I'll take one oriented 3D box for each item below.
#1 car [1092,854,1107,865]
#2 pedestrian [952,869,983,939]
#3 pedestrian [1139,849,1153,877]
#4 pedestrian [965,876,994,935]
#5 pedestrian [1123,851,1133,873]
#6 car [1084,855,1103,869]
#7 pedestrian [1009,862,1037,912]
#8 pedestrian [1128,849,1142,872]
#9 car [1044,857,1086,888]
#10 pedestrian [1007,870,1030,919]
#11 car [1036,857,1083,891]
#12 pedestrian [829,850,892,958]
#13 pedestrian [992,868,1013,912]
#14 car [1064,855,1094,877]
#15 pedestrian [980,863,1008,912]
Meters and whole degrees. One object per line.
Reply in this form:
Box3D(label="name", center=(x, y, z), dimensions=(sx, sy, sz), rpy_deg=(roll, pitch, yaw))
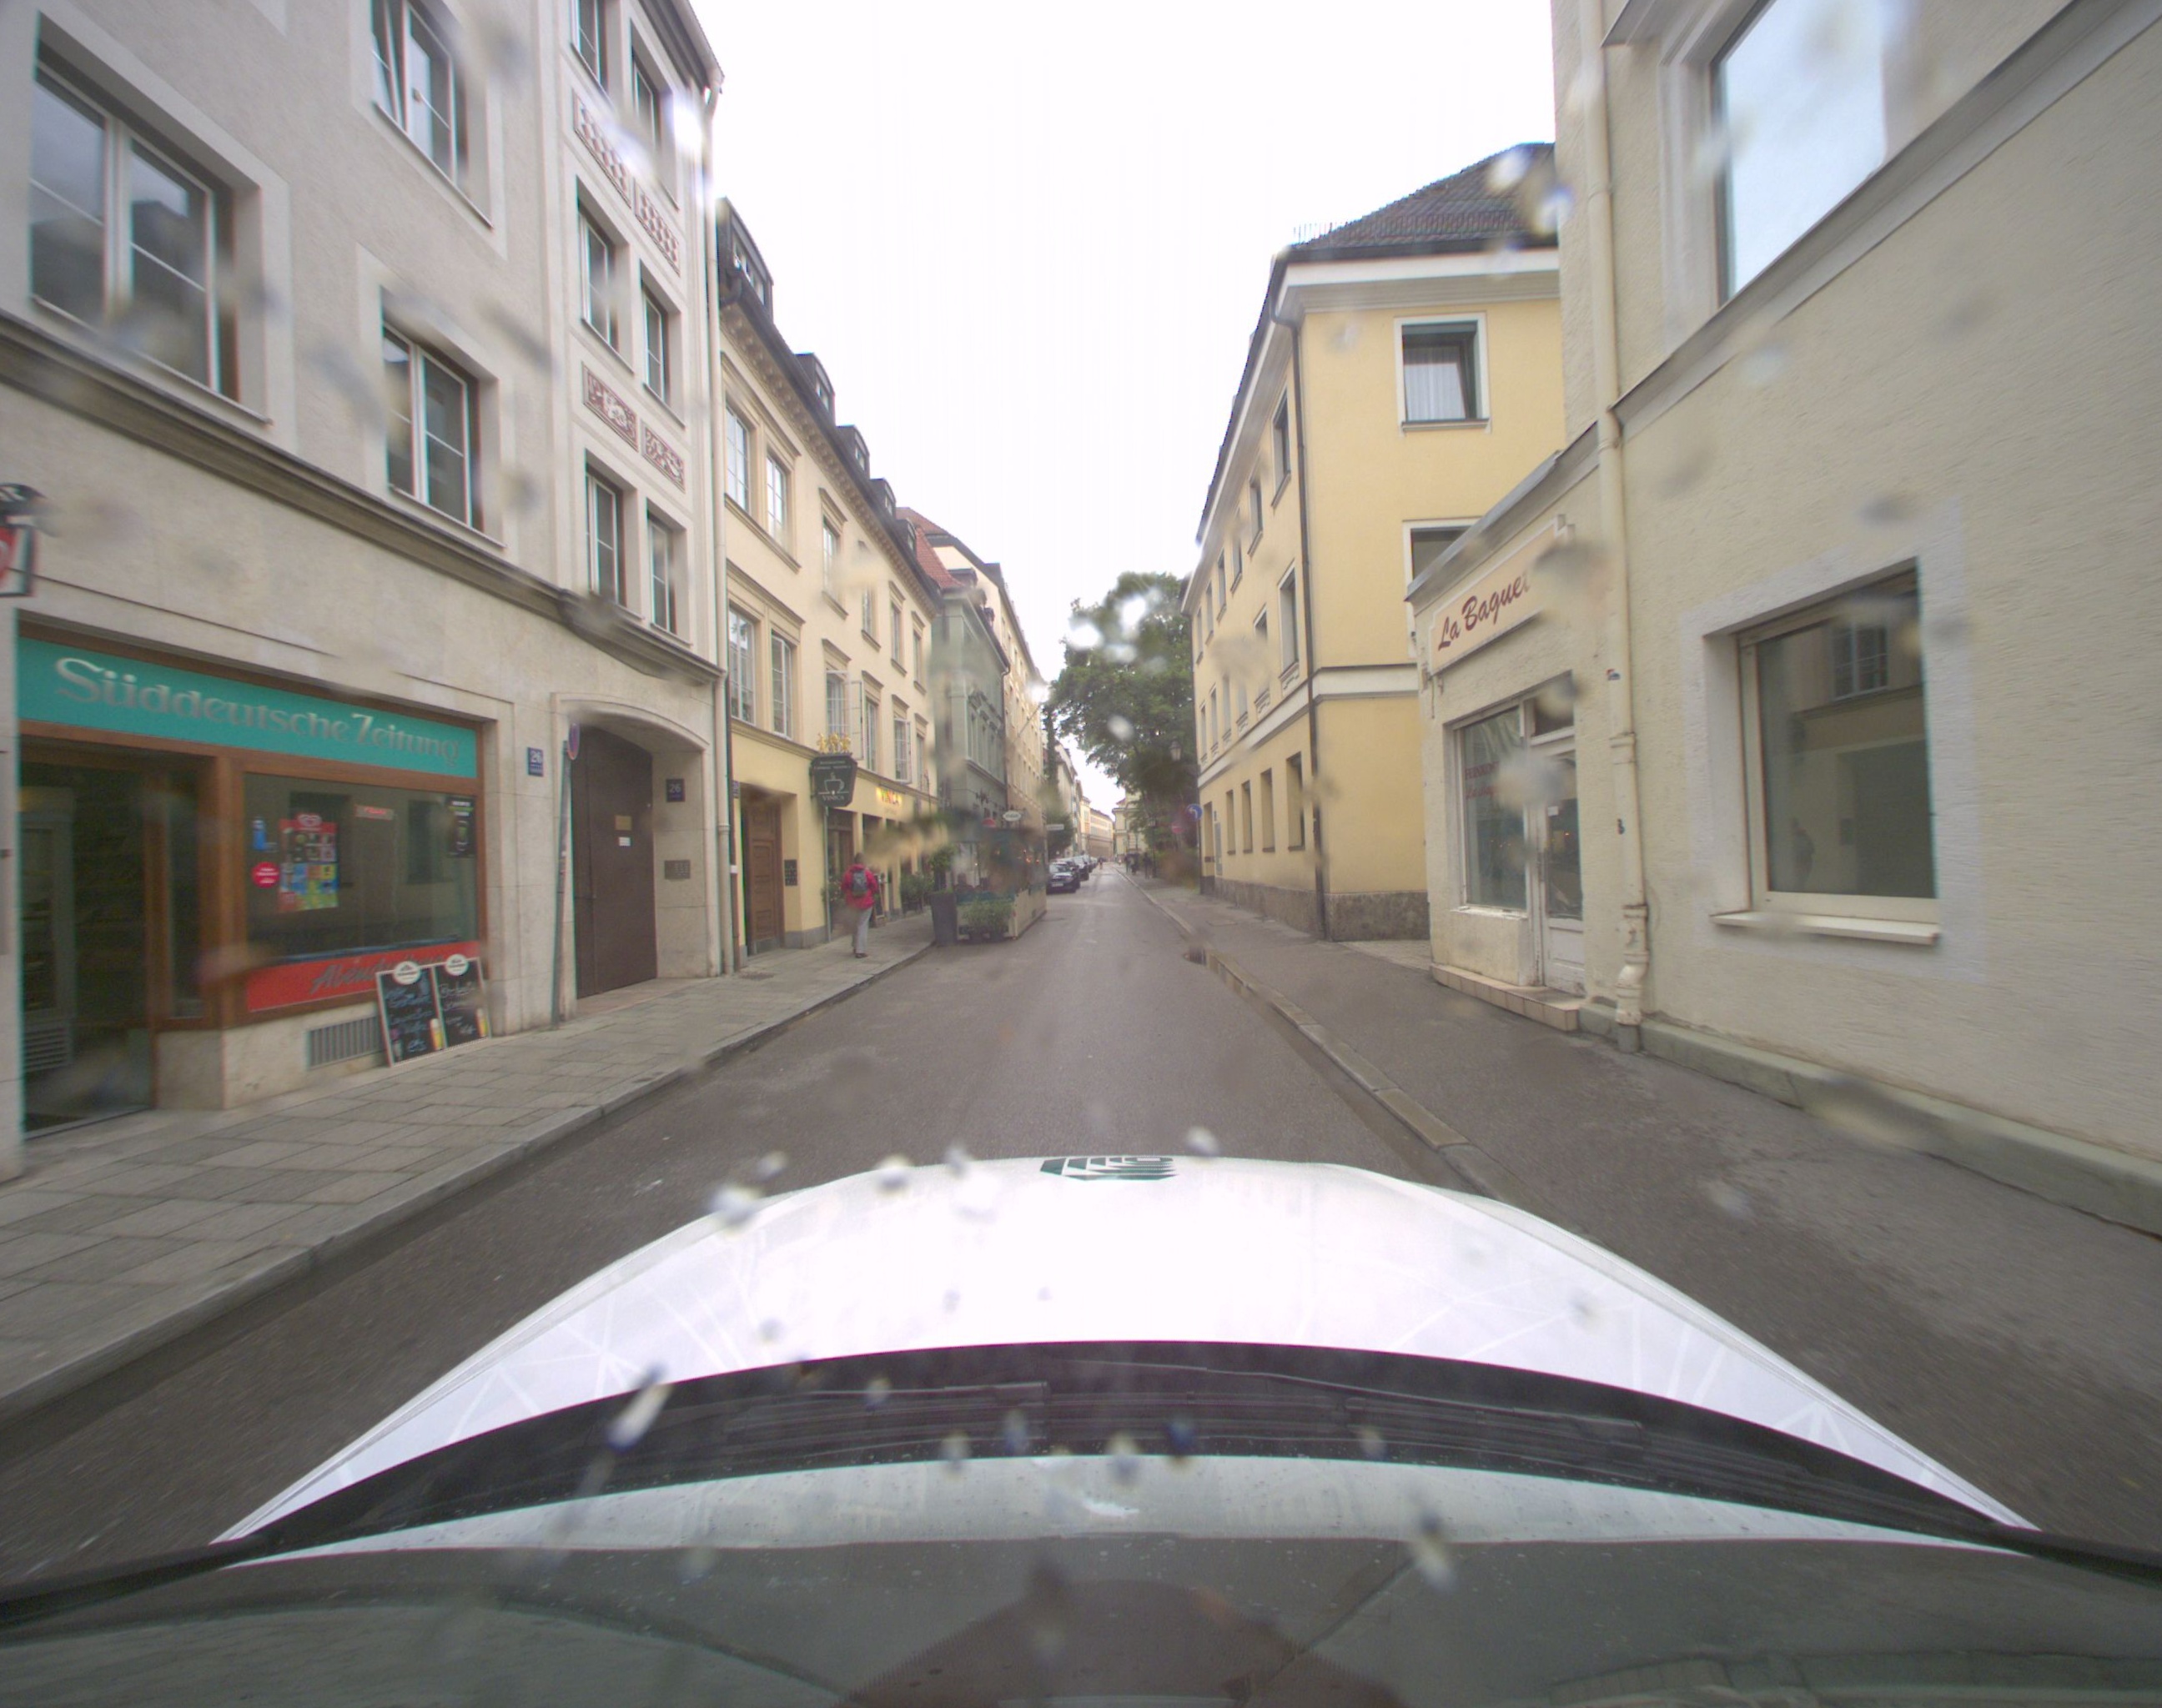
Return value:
Box3D(label="car", center=(2.530, 0.728, 108.497), dimensions=(1.771, 1.466, 3.546), rpy_deg=(-1, 0, 4))
Box3D(label="pedestrian", center=(-2.238, 0.977, 16.118), dimensions=(0.508, 1.326, 0.630), rpy_deg=(-1, 0, 0))
Box3D(label="pedestrian", center=(4.199, 0.577, 52.584), dimensions=(0.877, 1.802, 1.047), rpy_deg=(-1, 0, 2))
Box3D(label="pedestrian", center=(-2.131, 1.071, 17.124), dimensions=(0.508, 1.187, 0.630), rpy_deg=(-1, 0, 0))
Box3D(label="pedestrian", center=(3.956, 0.684, 68.867), dimensions=(0.790, 1.802, 0.903), rpy_deg=(-1, 0, 2))
Box3D(label="car", center=(1.388, 0.818, 86.961), dimensions=(1.771, 1.466, 3.546), rpy_deg=(-1, 0, 4))
Box3D(label="pedestrian", center=(-1.583, 0.903, 22.261), dimensions=(0.671, 1.326, 0.696), rpy_deg=(-1, 0, 0))
Box3D(label="pedestrian", center=(4.255, 0.510, 64.096), dimensions=(1.011, 1.802, 1.350), rpy_deg=(-1, 0, 2))
Box3D(label="car", center=(-0.790, 0.920, 42.292), dimensions=(1.771, 1.466, 3.546), rpy_deg=(-1, 0, 4))
Box3D(label="pedestrian", center=(-1.580, 1.013, 20.583), dimensions=(0.508, 1.175, 0.630), rpy_deg=(-1, 0, 0))
Box3D(label="car", center=(-0.948, 0.899, 37.726), dimensions=(1.771, 1.466, 3.667), rpy_deg=(-1, 0, 4))
Box3D(label="pedestrian", center=(-3.669, 0.811, 13.592), dimensions=(0.763, 1.708, 0.785), rpy_deg=(-2, 0, -1))
Box3D(label="pedestrian", center=(-2.263, 1.018, 23.435), dimensions=(0.508, 1.237, 0.630), rpy_deg=(-1, 0, 0))
Box3D(label="car", center=(-0.115, 0.827, 57.245), dimensions=(1.771, 1.466, 3.546), rpy_deg=(-1, 0, 4))
Box3D(label="pedestrian", center=(-2.390, 0.916, 22.518), dimensions=(0.671, 1.326, 0.696), rpy_deg=(-1, 0, 0))
